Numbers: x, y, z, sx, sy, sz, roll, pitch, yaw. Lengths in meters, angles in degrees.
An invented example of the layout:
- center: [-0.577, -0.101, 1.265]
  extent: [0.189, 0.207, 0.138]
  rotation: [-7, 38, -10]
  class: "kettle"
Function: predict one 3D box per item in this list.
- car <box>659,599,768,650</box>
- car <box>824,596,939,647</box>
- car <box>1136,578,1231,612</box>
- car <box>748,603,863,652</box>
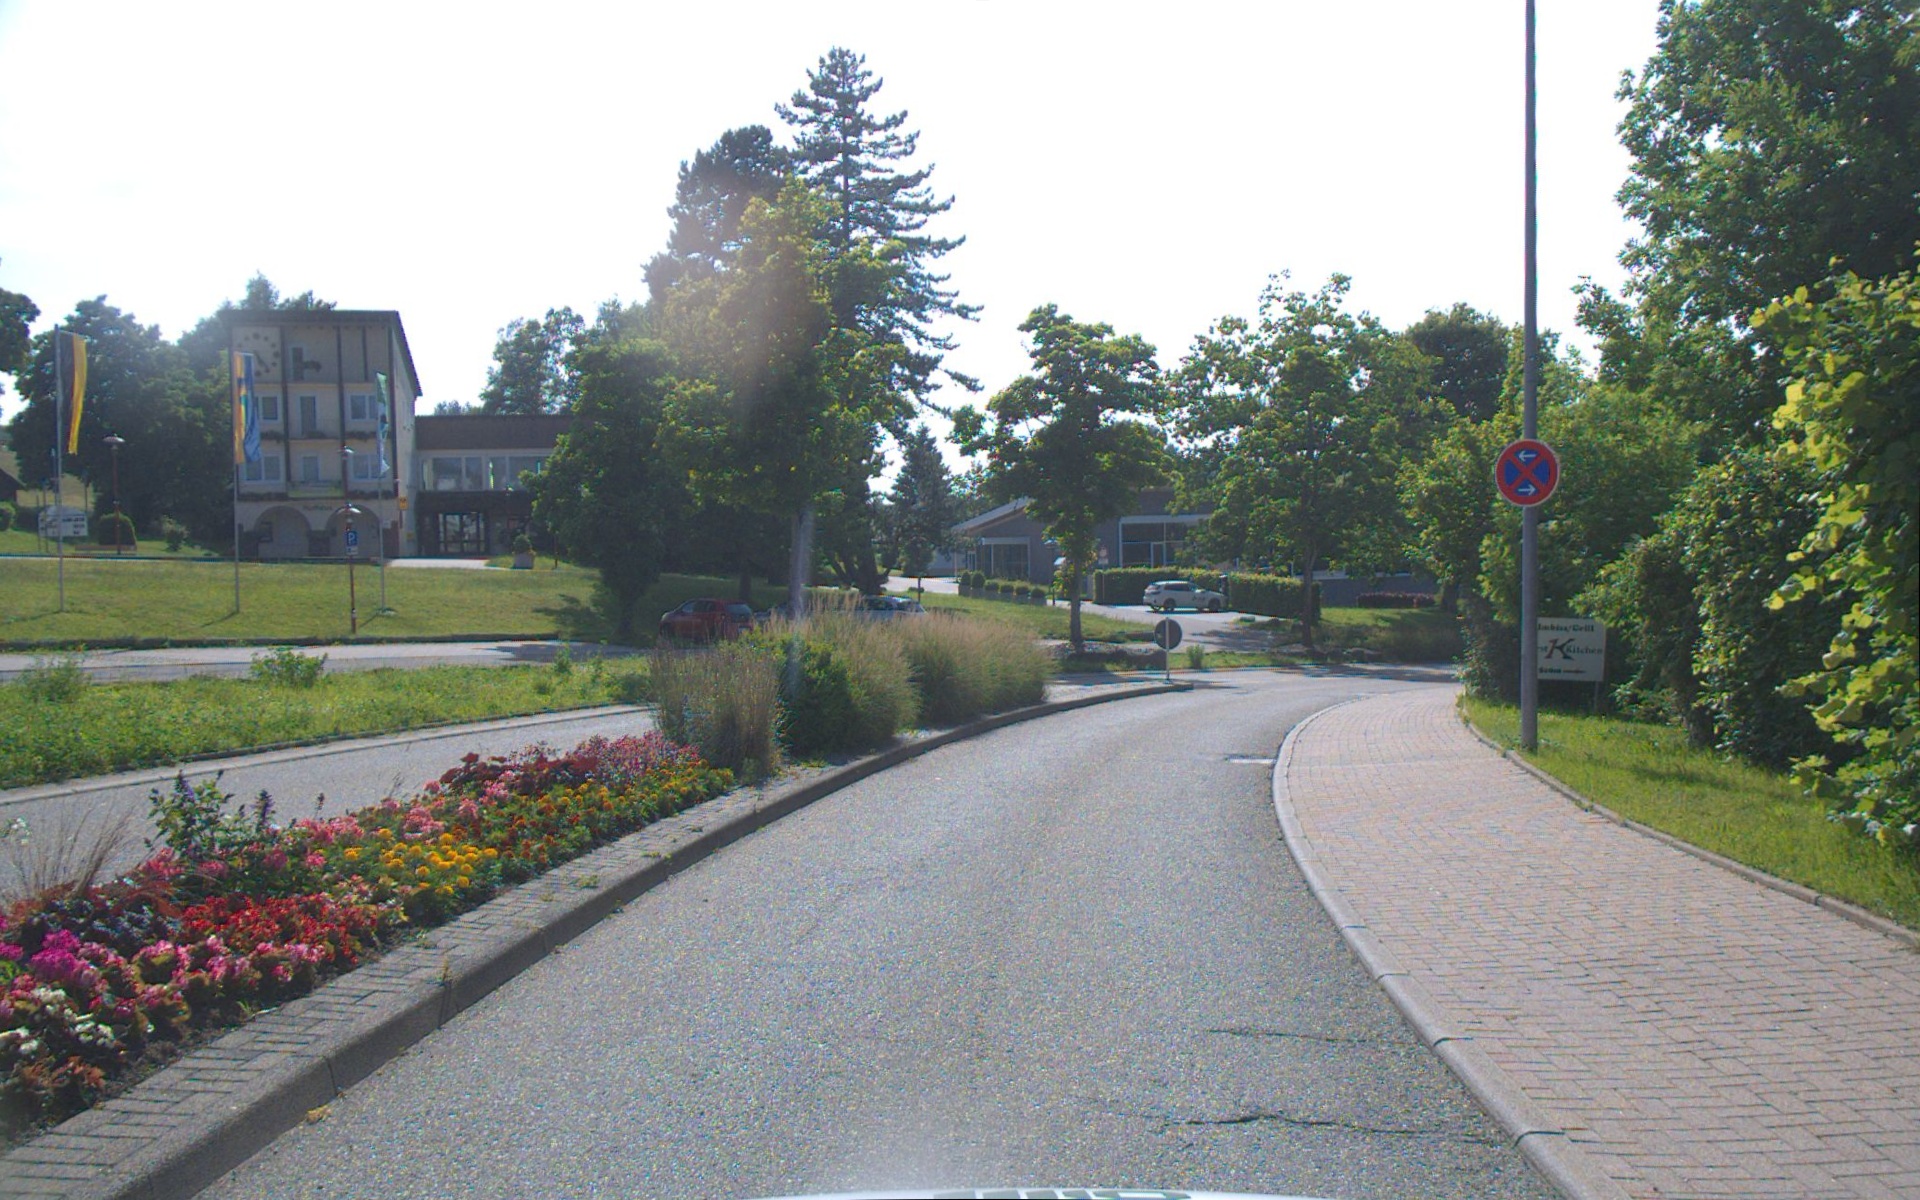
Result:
- center: [-7.941, 0.785, 53.134]
  extent: [3.146, 1.496, 1.768]
  rotation: [2, 0, 38]
  class: "car"
- center: [-2.799, 0.747, 58.654]
  extent: [3.868, 1.637, 1.767]
  rotation: [2, 0, 39]
  class: "car"
- center: [11.912, -0.273, 88.104]
  extent: [4.642, 1.560, 1.991]
  rotation: [-1, 5, -18]
  class: "car"
- center: [-5.204, 0.917, 55.431]
  extent: [3.645, 1.458, 1.767]
  rotation: [2, 0, 40]
  class: "car"
